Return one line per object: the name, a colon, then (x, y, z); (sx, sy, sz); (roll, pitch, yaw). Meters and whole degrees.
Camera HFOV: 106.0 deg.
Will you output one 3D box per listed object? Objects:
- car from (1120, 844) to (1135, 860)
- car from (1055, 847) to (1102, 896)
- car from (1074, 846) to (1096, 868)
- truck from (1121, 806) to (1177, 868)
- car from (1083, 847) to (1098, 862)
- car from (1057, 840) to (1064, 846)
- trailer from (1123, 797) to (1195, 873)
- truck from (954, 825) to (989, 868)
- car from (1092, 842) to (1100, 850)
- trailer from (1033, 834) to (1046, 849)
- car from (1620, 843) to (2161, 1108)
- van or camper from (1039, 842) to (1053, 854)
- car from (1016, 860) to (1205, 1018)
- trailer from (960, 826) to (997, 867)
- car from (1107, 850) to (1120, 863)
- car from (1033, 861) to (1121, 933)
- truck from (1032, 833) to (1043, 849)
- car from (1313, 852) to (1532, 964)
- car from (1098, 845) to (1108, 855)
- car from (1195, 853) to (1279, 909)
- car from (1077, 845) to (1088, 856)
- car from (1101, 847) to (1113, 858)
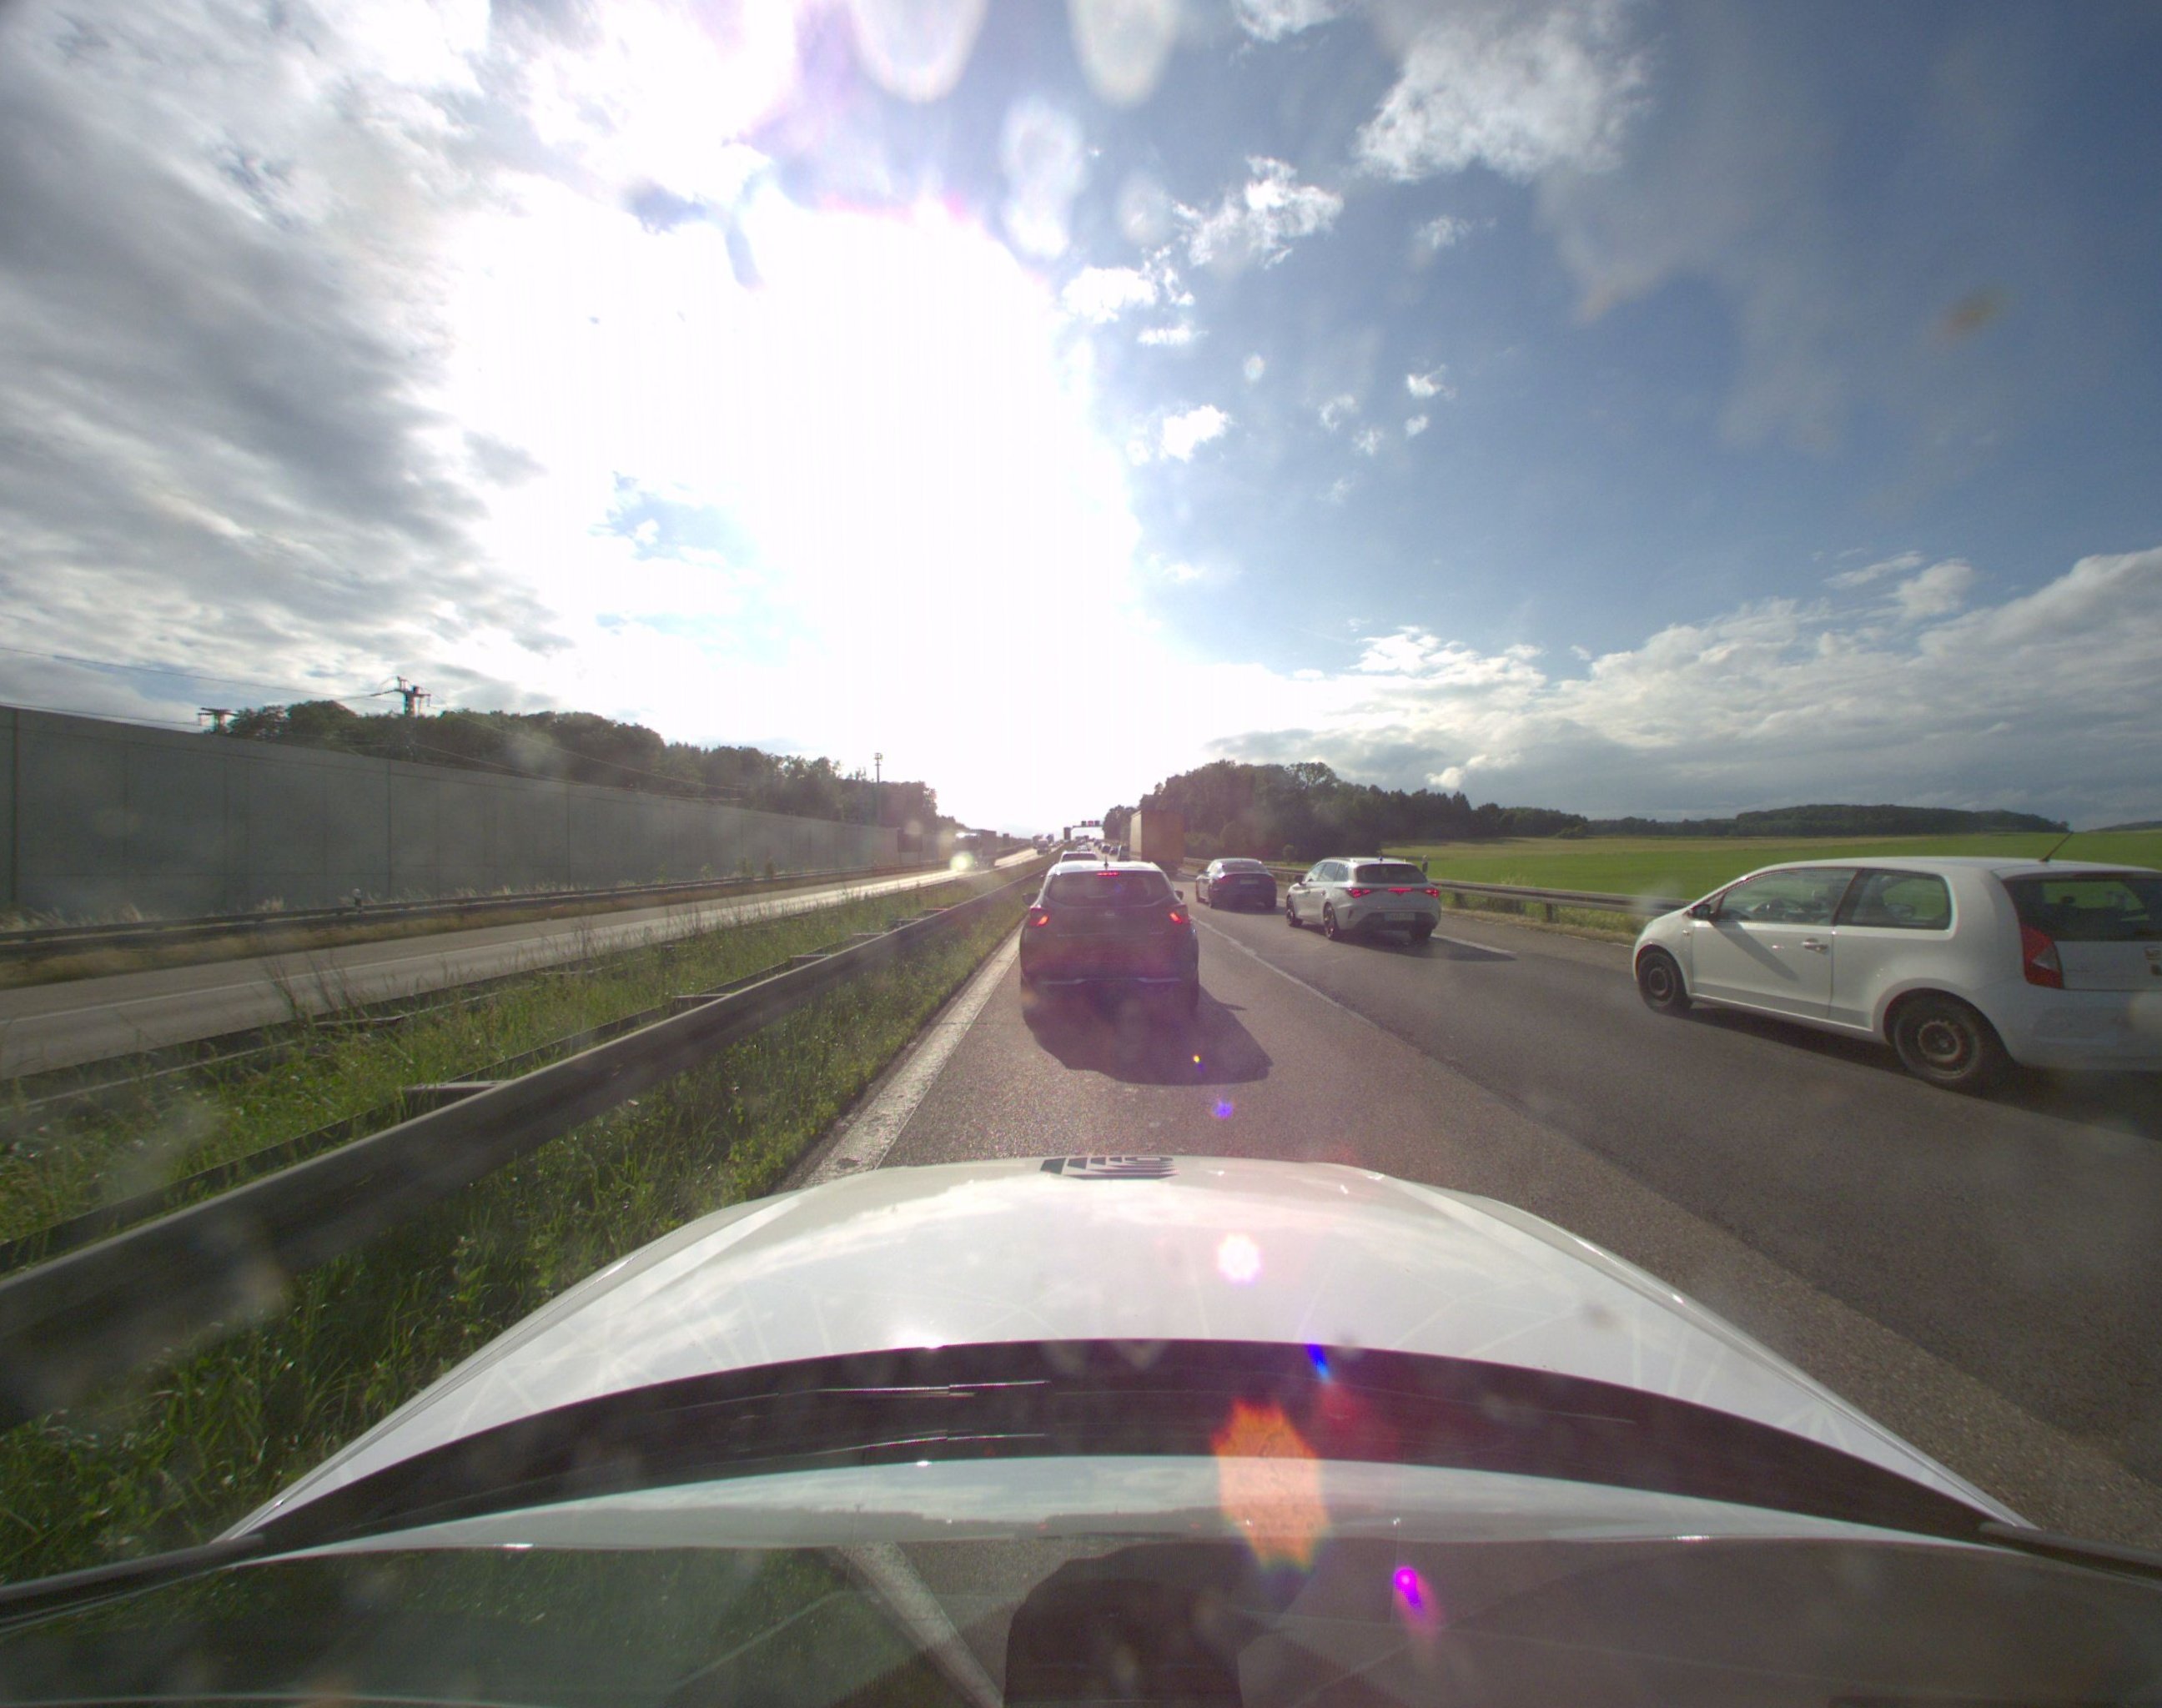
car: (5.291, -0.239, 93.270); (1.661, 1.755, 3.328); (0, -1, 2)
car: (-0.063, 0.640, 30.874); (1.668, 1.726, 3.597); (-1, -1, 1)
car: (0.370, 0.266, 77.856); (1.987, 2.014, 3.998); (0, -1, -1)
truck: (4.992, -1.190, 61.269); (3.571, 4.380, 6.686); (0, -1, -1)
car: (1.231, 0.060, 111.186); (1.987, 2.014, 3.998); (0, -1, -1)
car: (-6.268, -3.298, 247.200); (1.797, 1.516, 4.691); (0, 0, 1)
trailer: (4.985, -1.077, 54.668); (3.538, 4.457, 12.718); (0, 0, 0)
truck: (-11.046, -0.713, 82.580); (2.629, 4.098, 7.000); (0, -1, 0)
car: (3.949, -2.090, 213.569); (1.987, 2.014, 3.998); (0, -1, -1)
trailer: (-11.282, -3.330, 221.329); (2.531, 3.771, 12.542); (-3, -1, 1)
car: (6.095, 0.674, 6.324); (1.544, 1.495, 3.376); (-1, 0, -1)
van or camper: (-6.461, -1.081, 152.838); (2.158, 2.205, 6.260); (0, 0, 2)
car: (0.317, 0.789, 9.089); (1.703, 1.426, 3.379); (-1, -1, 2)
trailer: (-11.048, -0.707, 89.139); (2.646, 4.081, 12.392); (0, 0, -1)
car: (5.274, 0.405, 133.046); (1.987, 2.014, 3.998); (0, -1, -1)
car: (-0.041, 0.839, 17.389); (1.668, 1.367, 3.597); (-1, -1, 1)
truck: (-11.445, -3.397, 214.750); (2.544, 3.798, 5.417); (-3, -1, 1)
car: (5.070, 0.723, 12.750); (1.616, 1.445, 4.144); (-1, -1, -1)
car: (4.731, -0.904, 176.463); (1.987, 2.014, 3.998); (0, -1, -1)
car: (4.434, 0.734, 23.692); (1.741, 1.475, 4.147); (-1, -1, 1)
car: (0.296, -0.681, 162.614); (1.987, 2.014, 3.998); (0, -1, -1)
car: (4.820, -0.242, 151.327); (1.987, 2.014, 3.998); (0, -1, -1)
